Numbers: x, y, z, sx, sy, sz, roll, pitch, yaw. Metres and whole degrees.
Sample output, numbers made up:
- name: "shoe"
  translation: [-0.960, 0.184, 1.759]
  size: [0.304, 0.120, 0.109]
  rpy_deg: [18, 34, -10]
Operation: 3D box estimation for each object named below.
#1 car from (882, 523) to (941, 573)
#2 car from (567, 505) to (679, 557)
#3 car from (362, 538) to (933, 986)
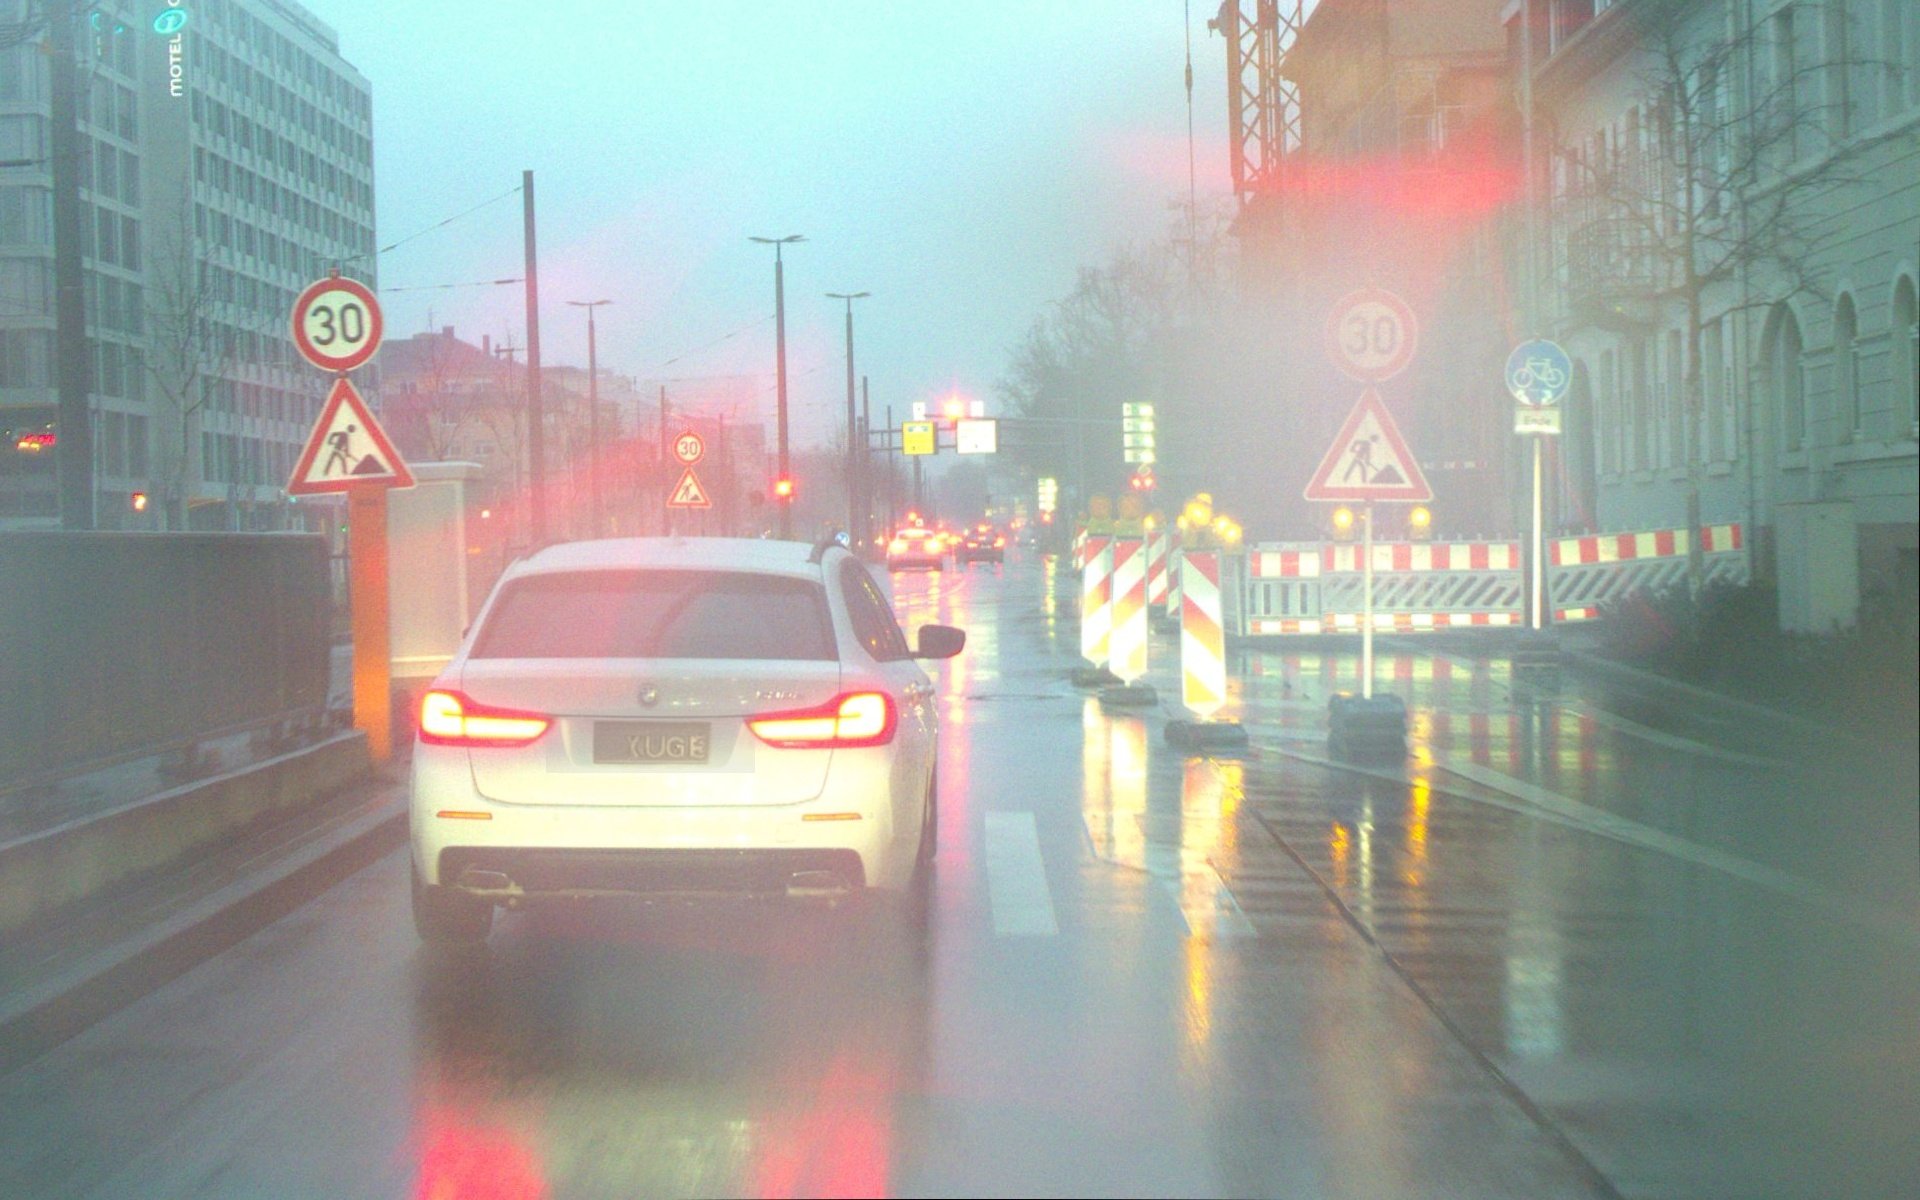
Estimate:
- name: "car"
  translation: [-1.614, -1.768, 116.188]
  size: [1.901, 1.636, 4.000]
  rpy_deg: [0, 1, 1]
- name: "car"
  translation: [-13.086, -2.682, 133.375]
  size: [3.986, 1.968, 2.001]
  rpy_deg: [-1, 1, -18]
- name: "car"
  translation: [-1.054, 0.494, 13.855]
  size: [1.852, 1.460, 4.947]
  rpy_deg: [0, 1, 0]
